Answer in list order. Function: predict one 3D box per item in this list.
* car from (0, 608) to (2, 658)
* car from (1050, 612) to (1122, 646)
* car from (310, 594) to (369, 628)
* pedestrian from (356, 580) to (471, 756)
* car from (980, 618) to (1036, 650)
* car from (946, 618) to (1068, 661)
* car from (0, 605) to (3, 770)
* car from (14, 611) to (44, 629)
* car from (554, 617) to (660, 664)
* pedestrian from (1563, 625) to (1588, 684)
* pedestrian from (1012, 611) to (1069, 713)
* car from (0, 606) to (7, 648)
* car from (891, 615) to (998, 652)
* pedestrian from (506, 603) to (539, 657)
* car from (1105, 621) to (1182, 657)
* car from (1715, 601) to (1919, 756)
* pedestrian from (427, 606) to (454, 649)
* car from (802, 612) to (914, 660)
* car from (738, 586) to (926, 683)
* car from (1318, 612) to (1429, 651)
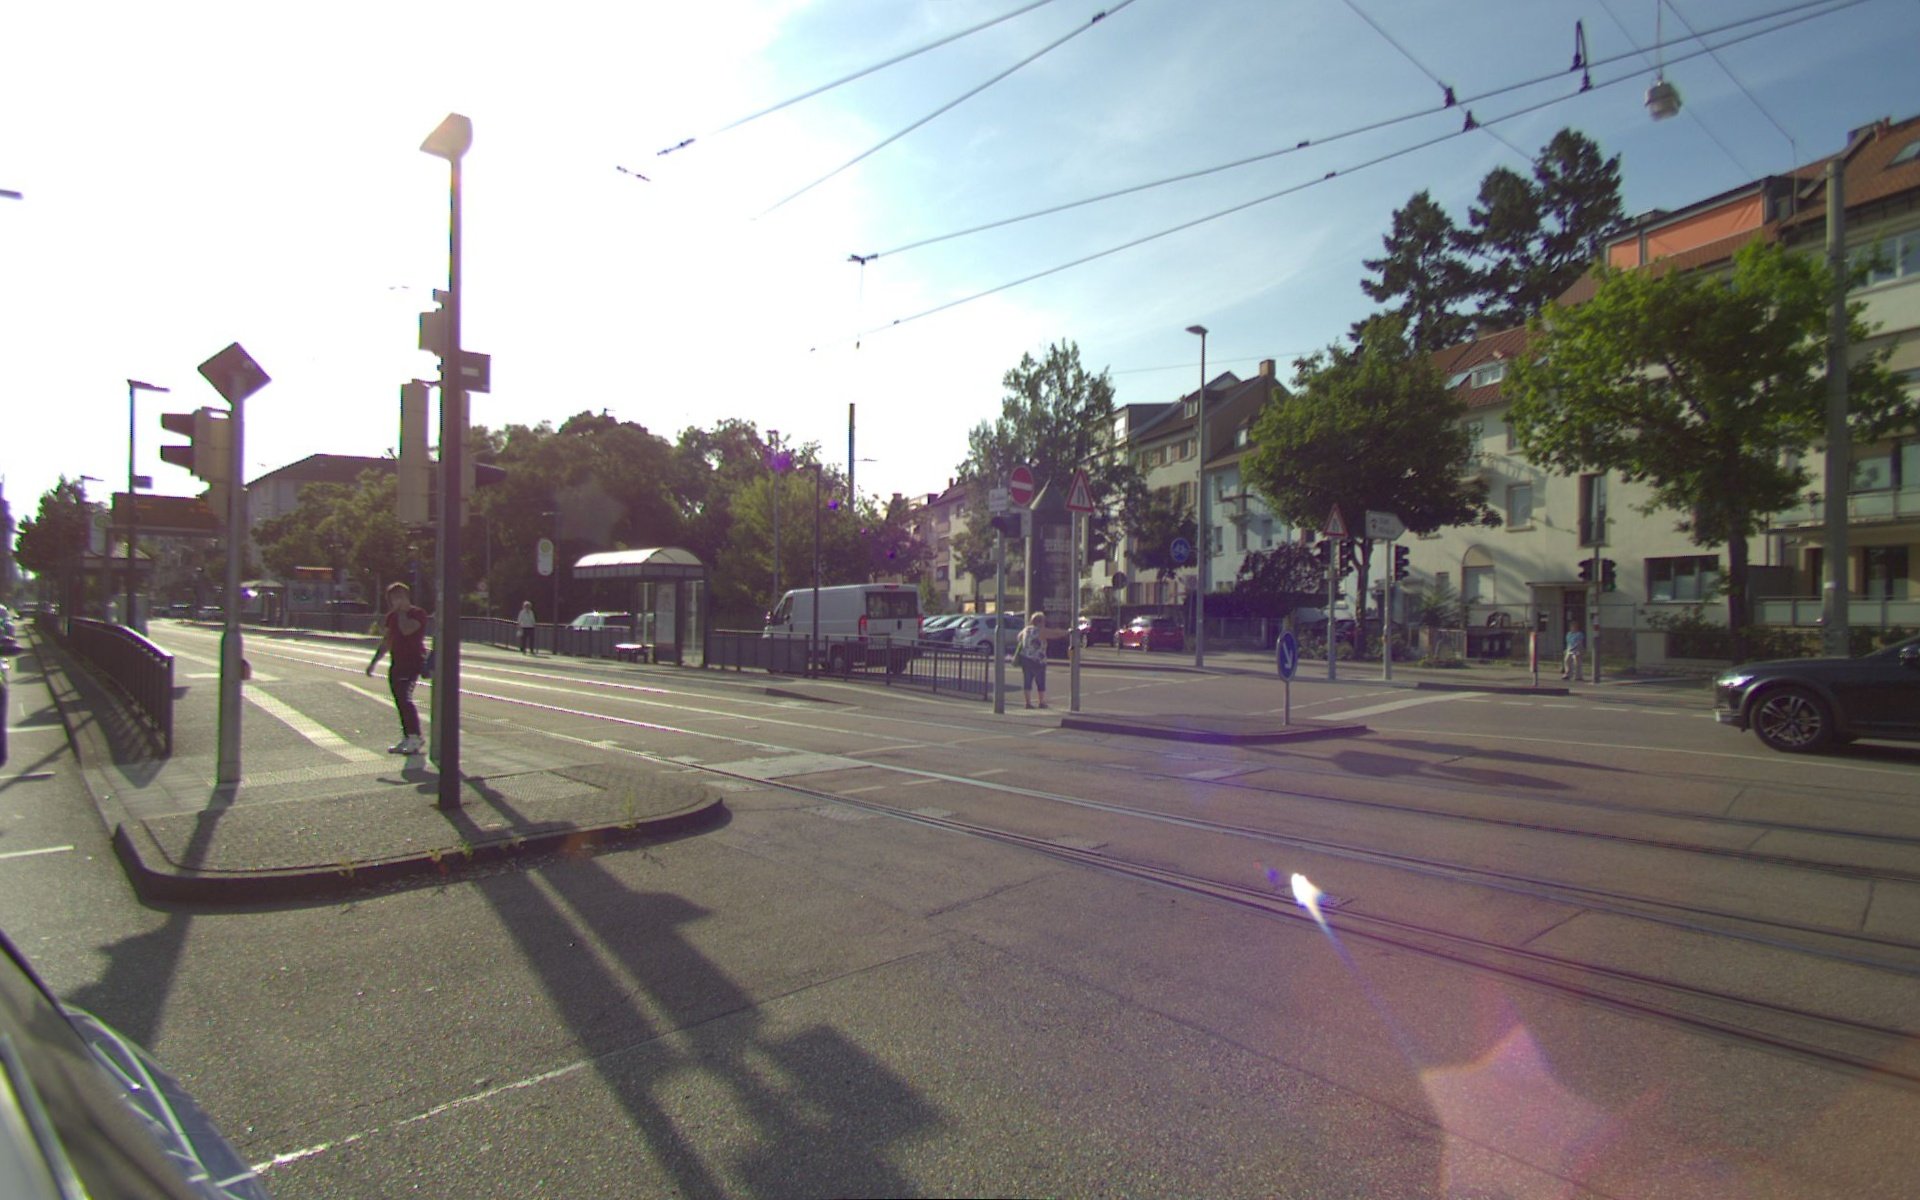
[{"bbox_3d":[-30.318,0.979,30.800,1.648,1.516,3.875,1,-1,-43],"label":"car"},{"bbox_3d":[6.037,1.383,48.957,1.787,1.585,4.013,1,-1,-20],"label":"car"},{"bbox_3d":[-38.653,0.708,62.986,2.120,2.029,5.392,1,-1,-43],"label":"car"},{"bbox_3d":[-5.508,0.659,10.211,0.869,1.683,0.673,2,-1,-41],"label":"pedestrian"},{"bbox_3d":[2.730,1.929,58.206,1.786,1.813,4.013,1,-1,-21],"label":"car"},{"bbox_3d":[1.652,1.372,35.689,3.930,1.439,1.778,1,-1,-22],"label":"car"},{"bbox_3d":[-10.836,0.830,10.155,1.756,1.516,4.004,-1,1,-43],"label":"car"},{"bbox_3d":[-88.543,1.869,96.233,4.002,1.697,1.971,0,-1,45],"label":"car"},{"bbox_3d":[-12.334,1.387,35.280,4.122,1.537,1.659,-2,-2,41],"label":"car"},{"bbox_3d":[16.110,1.423,26.499,0.398,1.527,0.391,1,-1,-17],"label":"pedestrian"},{"bbox_3d":[1.299,0.983,16.329,0.715,1.601,0.583,0,-1,43],"label":"pedestrian"},{"bbox_3d":[-36.714,0.975,37.678,1.756,1.516,4.004,1,-1,-43],"label":"car"},{"bbox_3d":[-0.639,1.336,41.129,3.930,1.439,1.778,1,-1,-22],"label":"car"},{"bbox_3d":[-13.534,0.916,31.291,0.698,1.640,0.728,2,-1,-43],"label":"pedestrian"},{"bbox_3d":[7.864,1.661,43.675,1.523,1.437,3.877,1,-1,-20],"label":"car"},{"bbox_3d":[10.453,0.753,9.769,1.744,1.506,4.754,1,-3,-37],"label":"car"},{"bbox_3d":[-20.144,1.072,39.251,0.726,1.640,0.690,2,-1,-43],"label":"pedestrian"},{"bbox_3d":[-6.096,2.114,60.816,6.487,2.830,1.778,0,-1,-22],"label":"car"},{"bbox_3d":[-3.433,0.854,26.296,2.151,2.256,5.257,1,-2,-44],"label":"car"},{"bbox_3d":[16.869,1.280,41.335,3.931,1.570,1.862,1,-1,-18],"label":"car"}]
